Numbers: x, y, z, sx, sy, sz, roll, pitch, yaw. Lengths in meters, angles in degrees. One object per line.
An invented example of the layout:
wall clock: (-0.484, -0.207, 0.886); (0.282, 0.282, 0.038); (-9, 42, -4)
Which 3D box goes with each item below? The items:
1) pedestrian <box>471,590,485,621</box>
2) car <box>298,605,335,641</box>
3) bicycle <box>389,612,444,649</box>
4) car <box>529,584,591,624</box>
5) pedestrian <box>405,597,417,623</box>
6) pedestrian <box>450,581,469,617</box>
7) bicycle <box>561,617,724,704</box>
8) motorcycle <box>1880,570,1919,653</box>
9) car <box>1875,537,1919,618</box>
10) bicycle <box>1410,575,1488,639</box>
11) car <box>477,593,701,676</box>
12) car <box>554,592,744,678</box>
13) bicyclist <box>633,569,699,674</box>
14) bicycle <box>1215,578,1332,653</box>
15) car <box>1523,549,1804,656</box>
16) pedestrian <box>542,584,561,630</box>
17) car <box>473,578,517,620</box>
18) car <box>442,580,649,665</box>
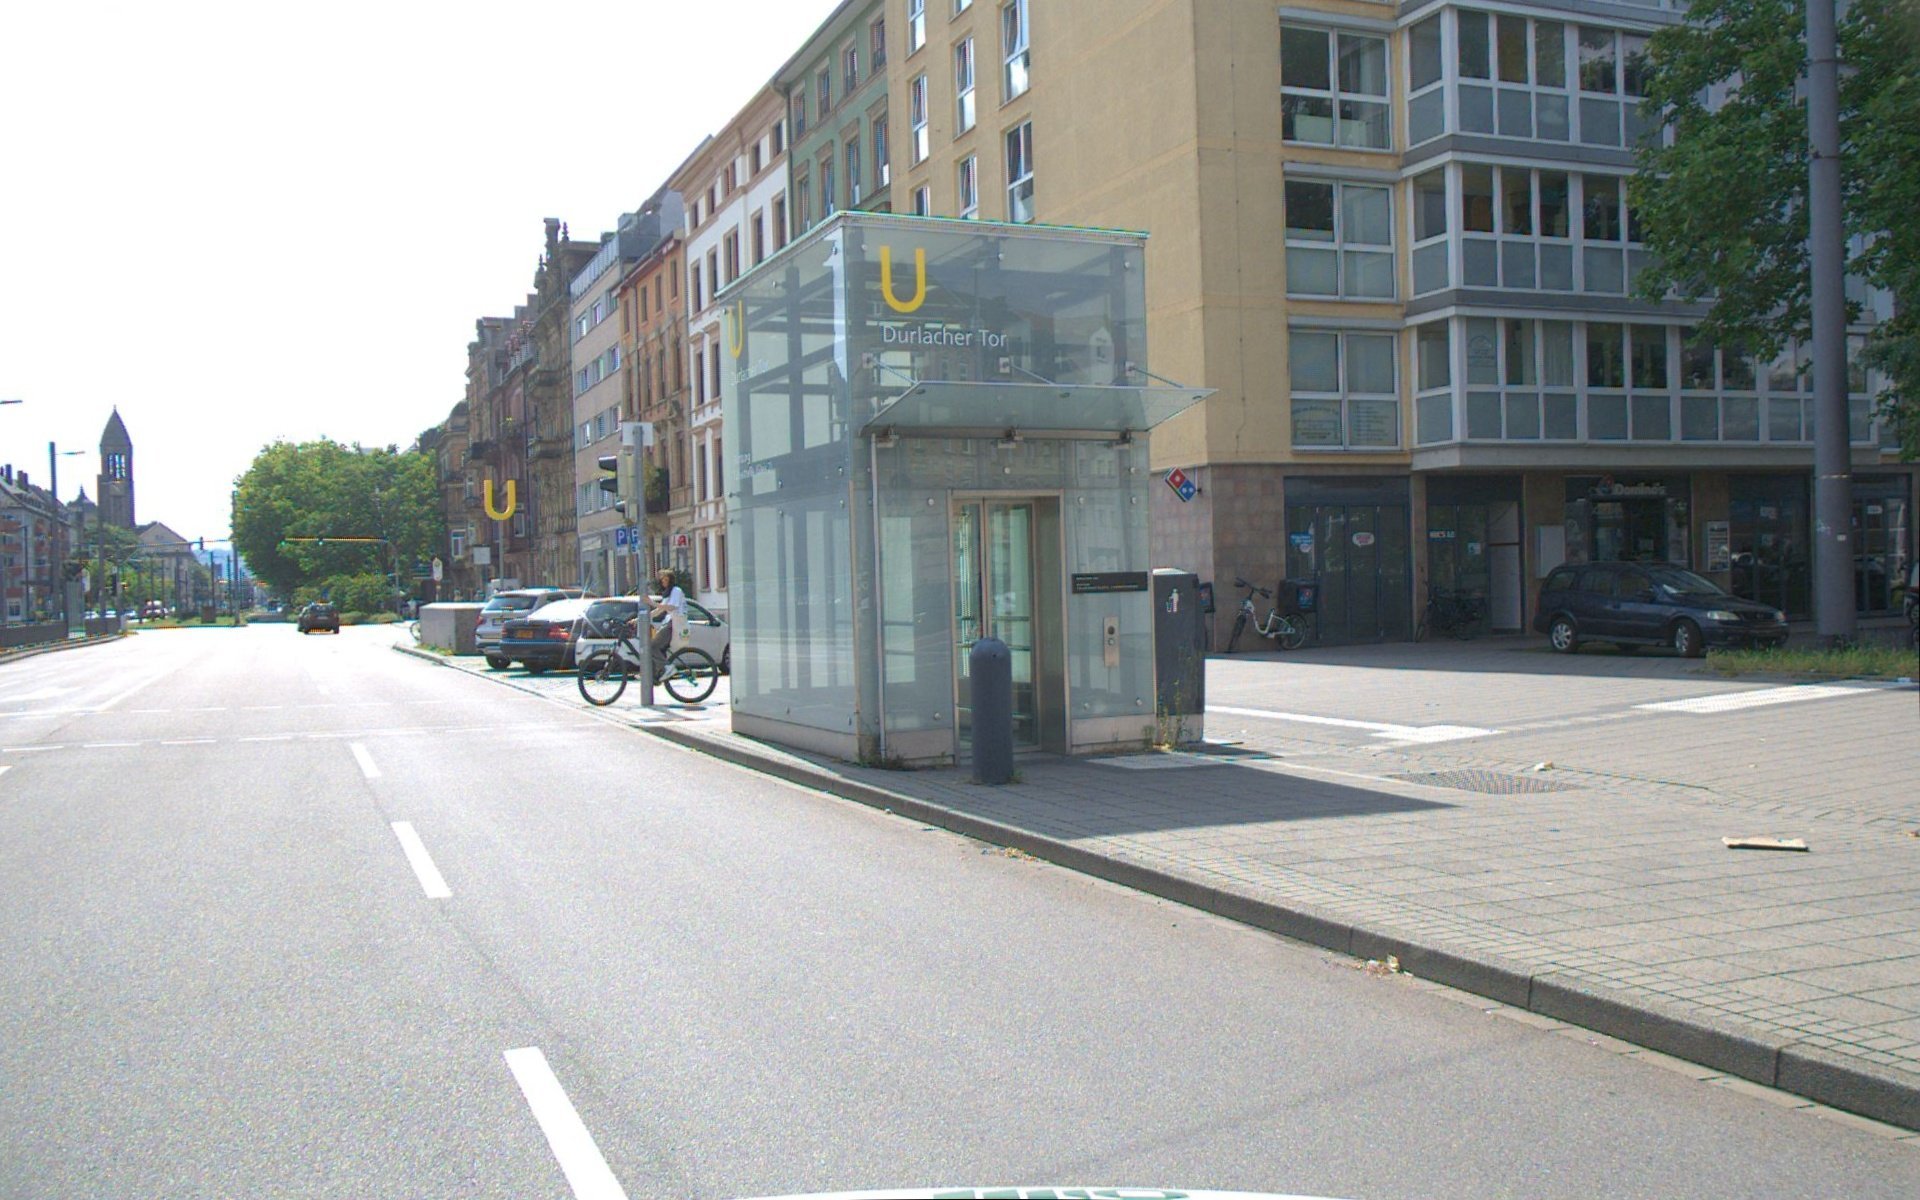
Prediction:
pedestrian: (-29.800, 0.332, 102.205); (0.656, 1.868, 0.688); (-3, 0, -29)
car: (-35.384, 1.244, 90.861); (1.667, 1.741, 3.581); (-2, 3, -24)
bicycle: (-20.172, 1.132, 61.407); (1.909, 1.259, 0.435); (-3, 3, -37)
car: (-20.837, 0.229, 86.079); (1.971, 1.894, 4.708); (-2, 0, -28)
pedestrian: (-44.126, 0.839, 132.943); (0.757, 2.048, 0.710); (-2, 0, -22)
pedestrian: (-27.018, -0.048, 89.292); (0.659, 1.936, 0.684); (-3, 0, -41)
bicycle: (-4.216, 0.803, 22.007); (2.049, 1.126, 0.544); (-1, -2, 4)
motorcycle: (12.970, 0.127, 20.928); (2.241, 1.048, 0.974); (-1, -1, 26)
car: (19.870, -0.420, 31.516); (1.779, 1.540, 4.066); (-2, 3, -24)
bicycle: (9.166, 0.122, 31.007); (1.323, 1.148, 0.590); (-2, 2, -20)
car: (-7.351, 0.651, 33.284); (1.895, 1.486, 4.595); (-1, 0, 27)
car: (-5.756, 0.623, 31.009); (1.738, 1.479, 3.493); (-2, 0, 26)
bicyclist: (-3.898, 0.283, 21.941); (0.765, 1.359, 0.395); (-1, 2, 3)
bicycle: (5.568, 0.255, 29.345); (2.160, 1.223, 0.474); (-2, 2, -24)
car: (11.257, 0.025, 26.745); (1.779, 1.540, 4.065); (-2, 1, -24)
pedestrian: (-19.588, 0.328, 79.356); (0.711, 2.135, 0.781); (-2, 2, -23)
car: (-29.863, -0.043, 106.016); (1.966, 2.569, 5.847); (-2, 0, -23)
car: (-9.091, 0.459, 36.706); (2.014, 1.676, 4.594); (-2, 1, 24)
